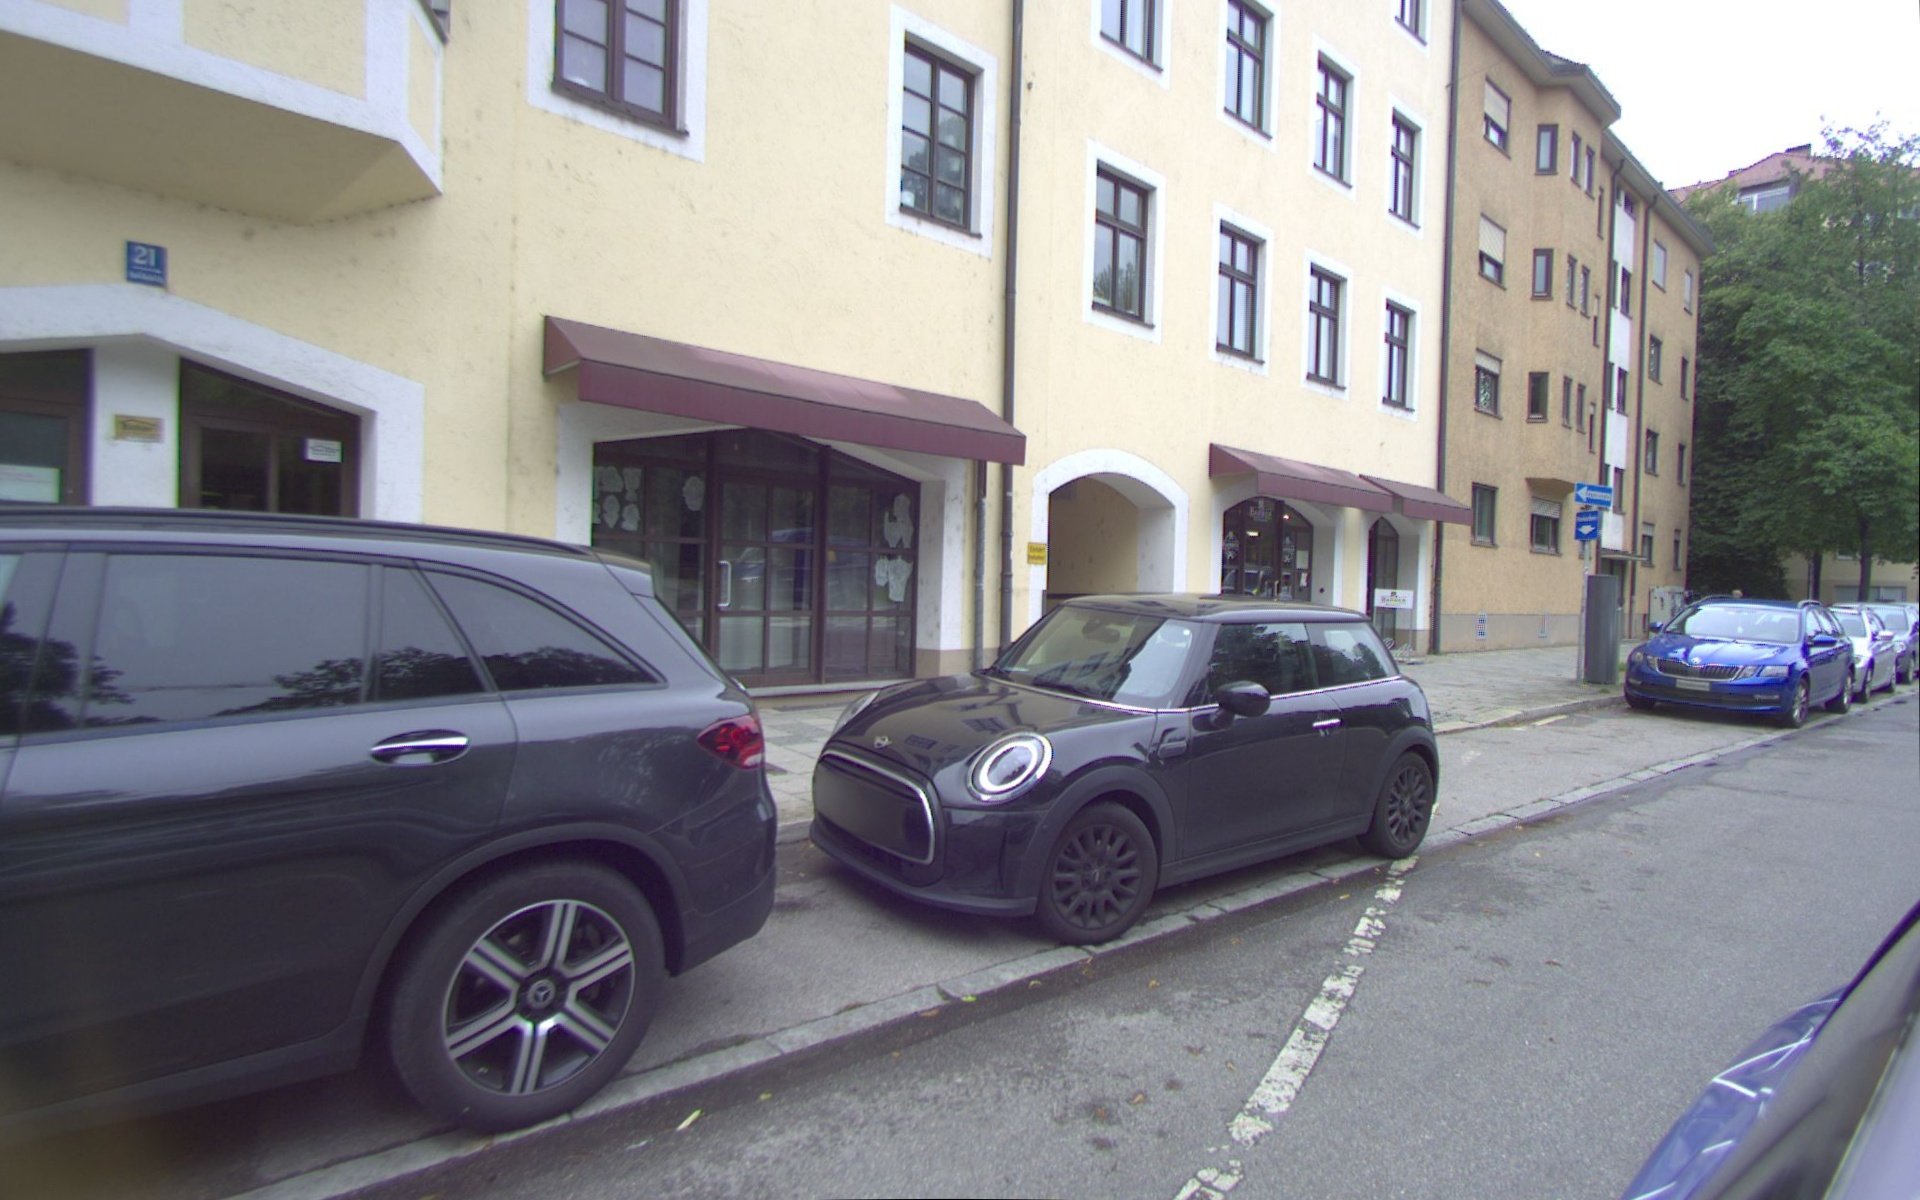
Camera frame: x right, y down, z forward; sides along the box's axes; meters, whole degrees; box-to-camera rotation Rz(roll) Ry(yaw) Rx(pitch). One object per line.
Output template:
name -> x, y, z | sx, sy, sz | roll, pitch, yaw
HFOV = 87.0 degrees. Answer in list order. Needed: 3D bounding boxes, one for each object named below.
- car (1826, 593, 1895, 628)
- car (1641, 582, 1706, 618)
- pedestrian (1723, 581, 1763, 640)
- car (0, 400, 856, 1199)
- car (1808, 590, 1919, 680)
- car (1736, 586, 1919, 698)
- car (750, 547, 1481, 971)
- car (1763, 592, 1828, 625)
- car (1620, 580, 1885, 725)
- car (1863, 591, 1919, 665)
car -> 41.738, 0.449, 46.861 | 4.175, 1.485, 2.050 | 0, 2, -44
car -> 37.121, 0.000, 52.610 | 4.173, 1.773, 1.914 | 0, 2, -43
pedestrian -> 22.434, 0.287, 29.007 | 0.963, 1.644, 0.672 | -1, 2, -39
car -> -2.684, 0.416, 2.411 | 4.622, 1.700, 1.761 | 0, 3, -40
car -> 18.097, 0.624, 19.766 | 3.719, 1.514, 1.632 | 0, 3, -39
car -> 14.287, 0.593, 16.452 | 4.355, 1.514, 1.695 | 0, 3, -40
car -> 0.987, 0.553, 5.493 | 3.751, 1.514, 1.762 | 0, 3, -37
car -> 40.083, 0.376, 48.502 | 4.175, 1.485, 1.914 | 0, 2, -44
car -> 10.400, 0.567, 13.164 | 4.407, 1.514, 1.761 | 0, 3, -39
car -> 21.774, 0.615, 22.716 | 3.752, 1.514, 1.632 | 0, 3, -39
